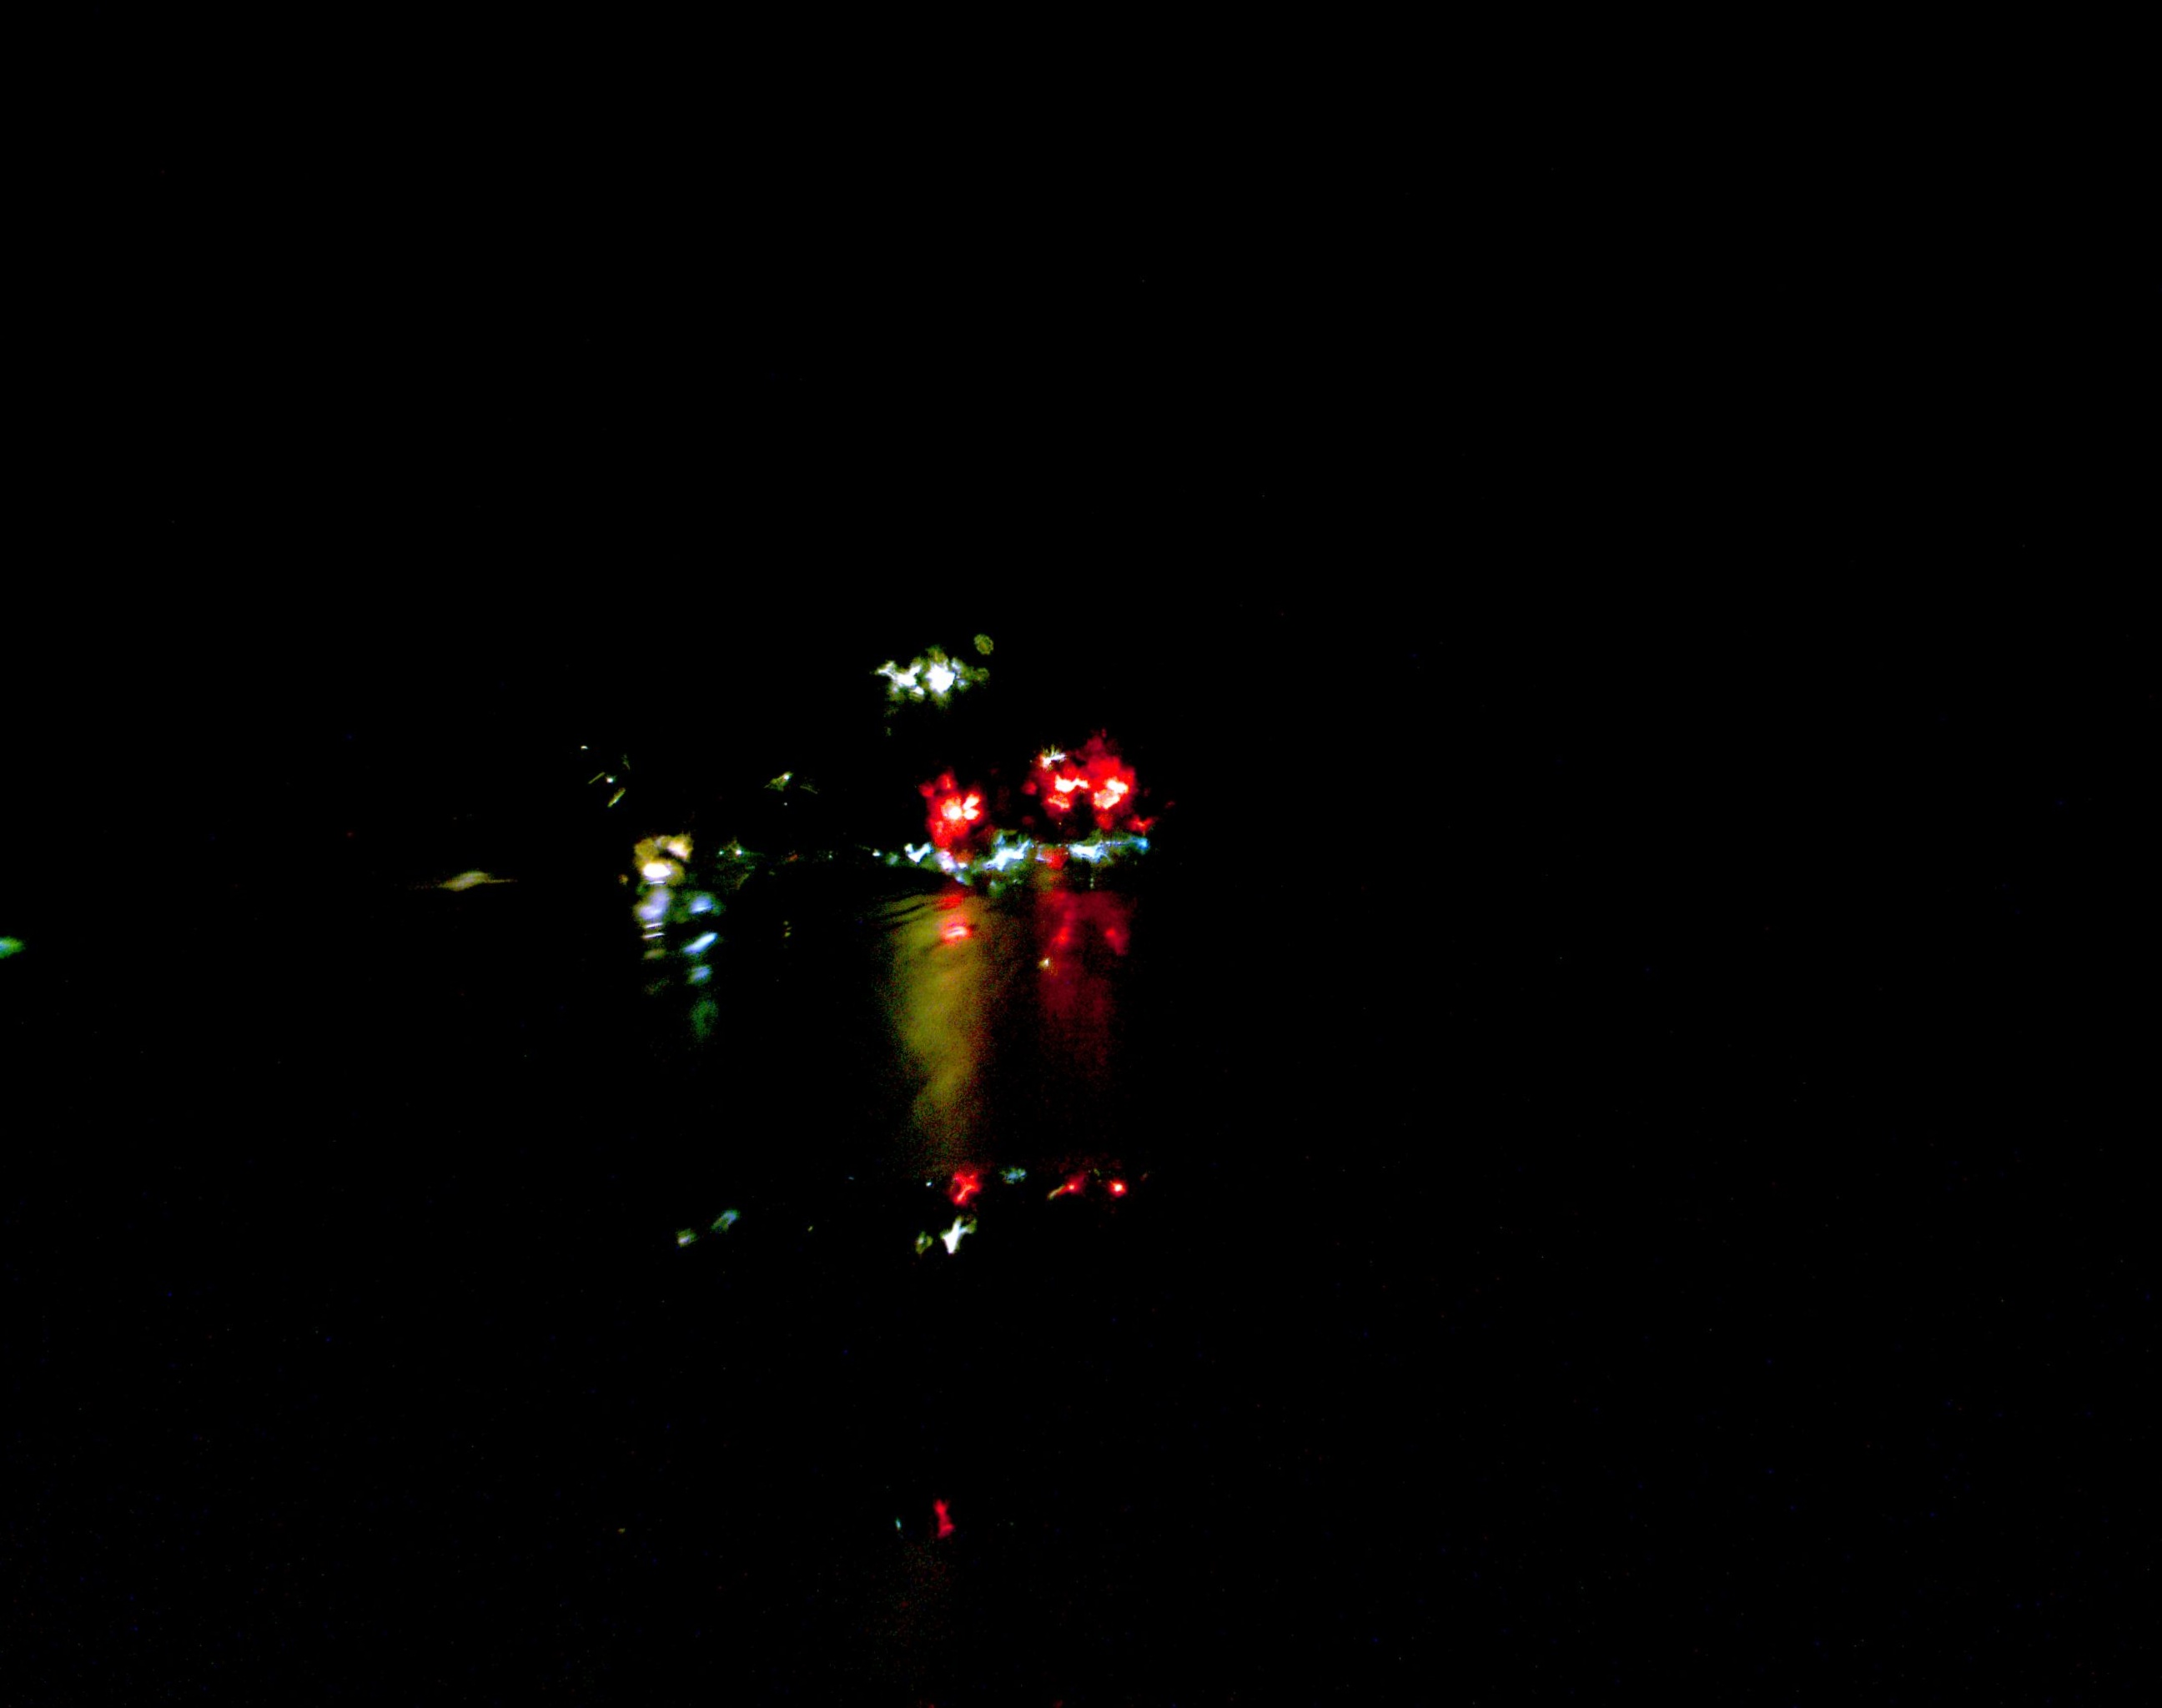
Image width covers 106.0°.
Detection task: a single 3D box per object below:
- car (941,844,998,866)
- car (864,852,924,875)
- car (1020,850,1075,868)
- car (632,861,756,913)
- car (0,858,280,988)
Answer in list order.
[{"bbox_3d":[-8.334,0.063,60.703,3.997,1.662,1.988,0,0,-17],"label":"car"},{"bbox_3d":[-13.722,0.680,59.804,3.978,1.662,1.998,0,0,-4],"label":"car"},{"bbox_3d":[-2.667,0.375,64.683,3.946,1.428,1.948,0,0,-32],"label":"car"},{"bbox_3d":[-12.612,1.011,26.925,1.988,1.507,4.554,0,0,-1],"label":"car"},{"bbox_3d":[-12.684,0.772,9.837,1.871,1.397,4.246,-1,0,-2],"label":"car"}]
